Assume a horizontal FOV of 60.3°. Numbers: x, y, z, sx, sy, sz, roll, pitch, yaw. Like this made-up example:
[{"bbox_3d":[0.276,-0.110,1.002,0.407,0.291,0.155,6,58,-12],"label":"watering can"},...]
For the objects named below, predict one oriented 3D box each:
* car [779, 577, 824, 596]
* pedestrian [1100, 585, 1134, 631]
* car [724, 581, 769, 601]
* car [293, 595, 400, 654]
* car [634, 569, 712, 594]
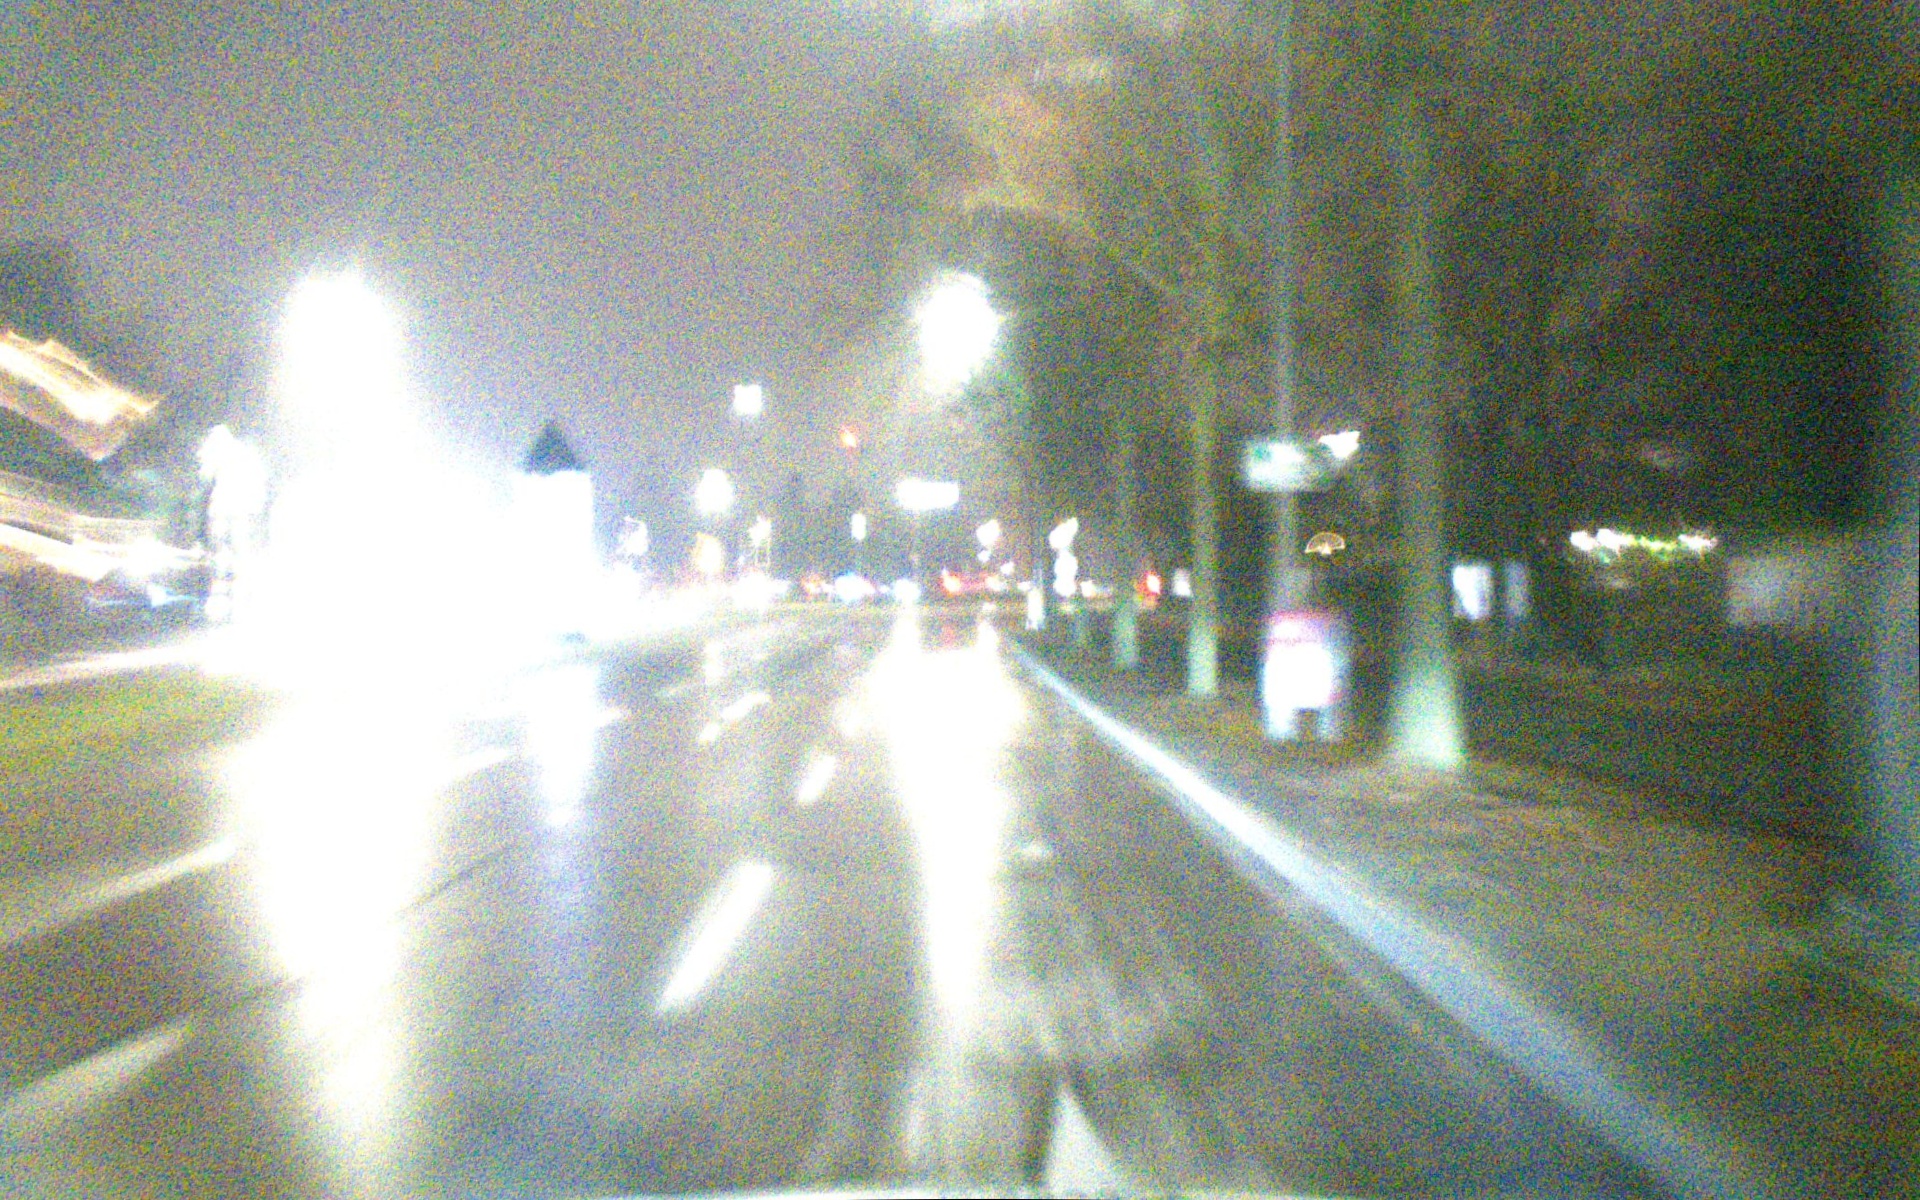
[{"bbox_3d":[-13.908,-1.202,145.125,3.873,1.606,1.736,1,1,-3],"label":"car"},{"bbox_3d":[6.353,0.327,66.903,1.202,1.825,1.490,1,0,-1],"label":"pedestrian"},{"bbox_3d":[-18.757,-0.785,145.408,3.912,1.644,1.834,1,1,-8],"label":"car"},{"bbox_3d":[-19.495,0.740,52.743,1.792,1.743,4.440,1,1,-1],"label":"car"},{"bbox_3d":[-24.823,-1.592,143.218,6.215,2.125,2.495,0,1,-26],"label":"car"}]
